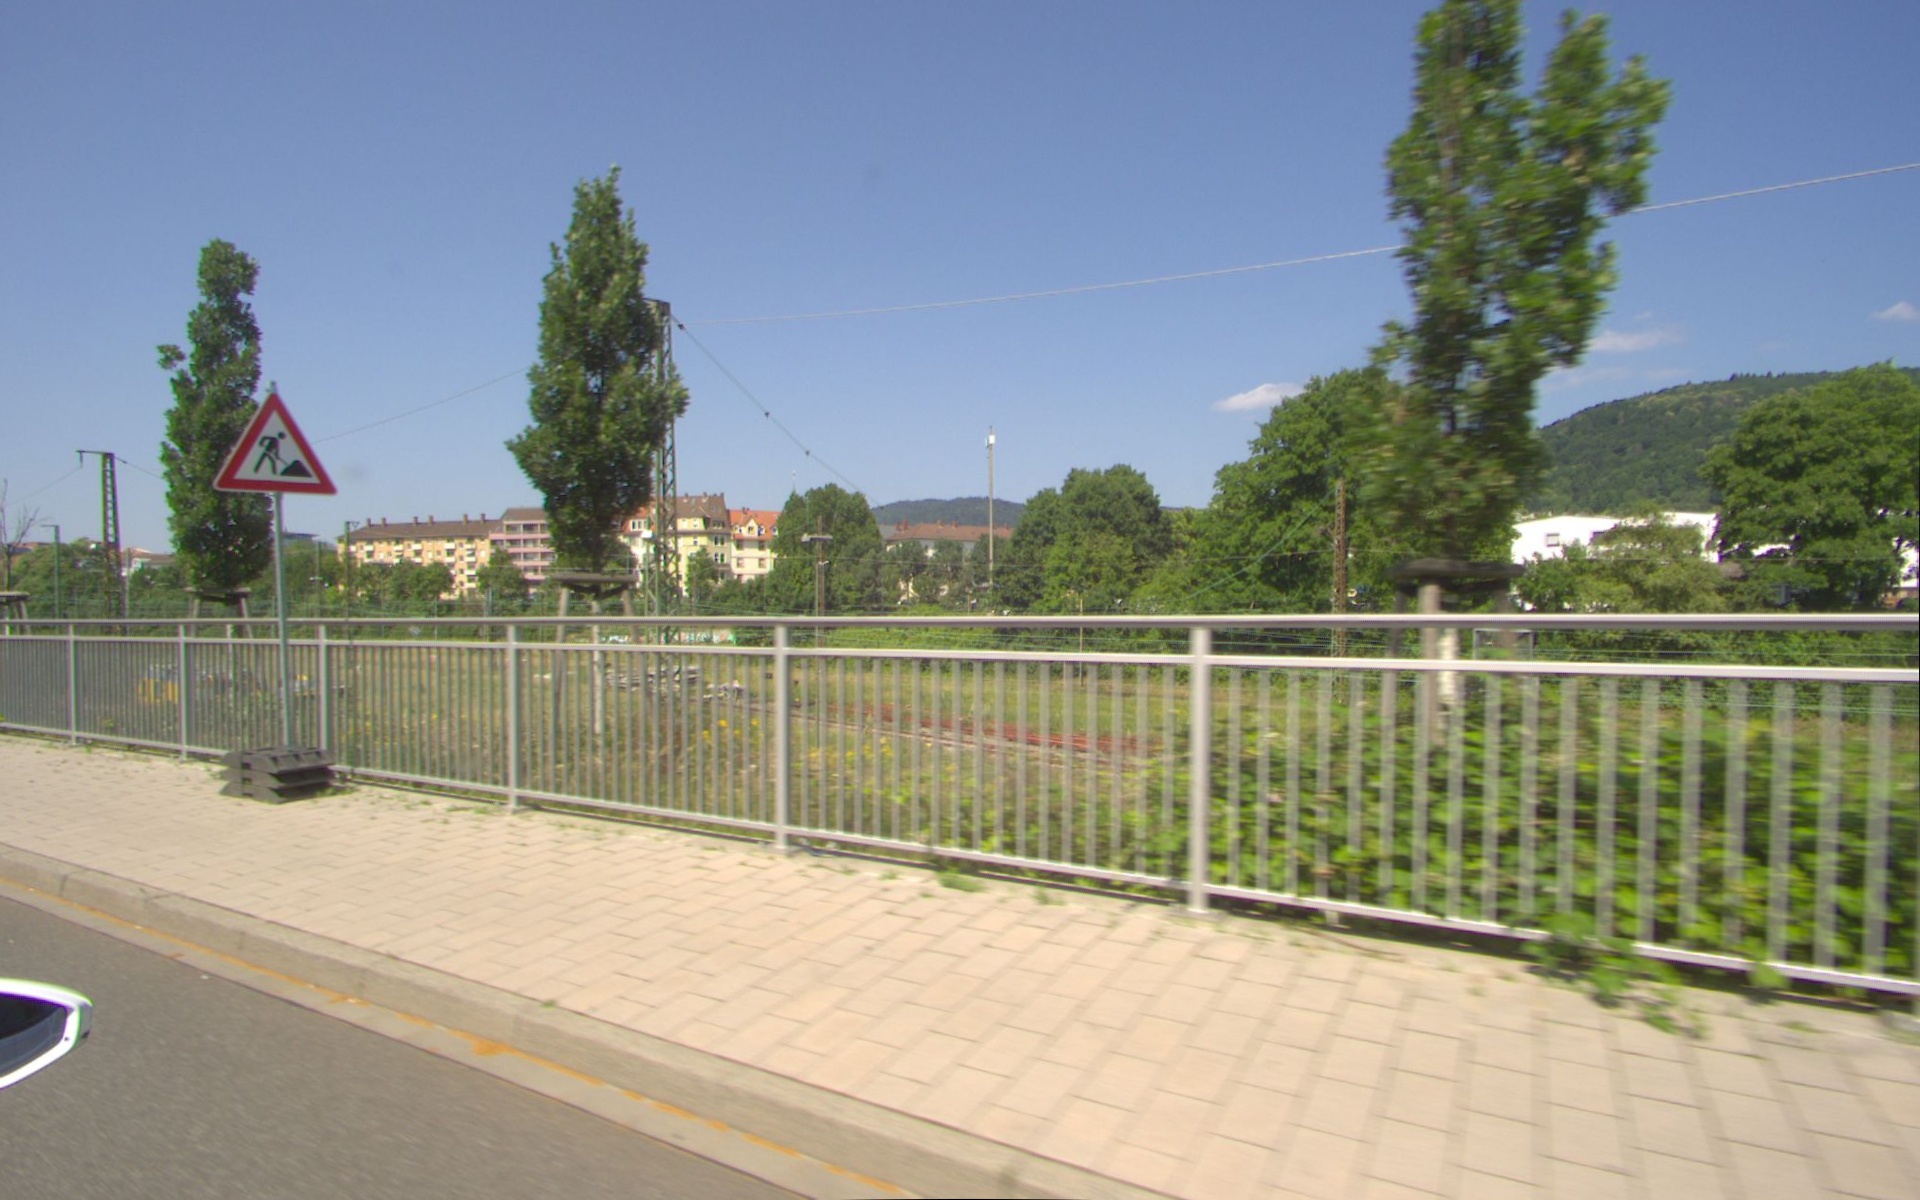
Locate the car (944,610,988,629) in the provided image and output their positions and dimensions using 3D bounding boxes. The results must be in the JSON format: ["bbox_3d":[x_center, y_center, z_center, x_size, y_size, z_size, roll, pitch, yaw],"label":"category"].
[{"bbox_3d":[0.657,2.264,118.029,4.922,2.141,1.988,0,1,35],"label":"car"}]
